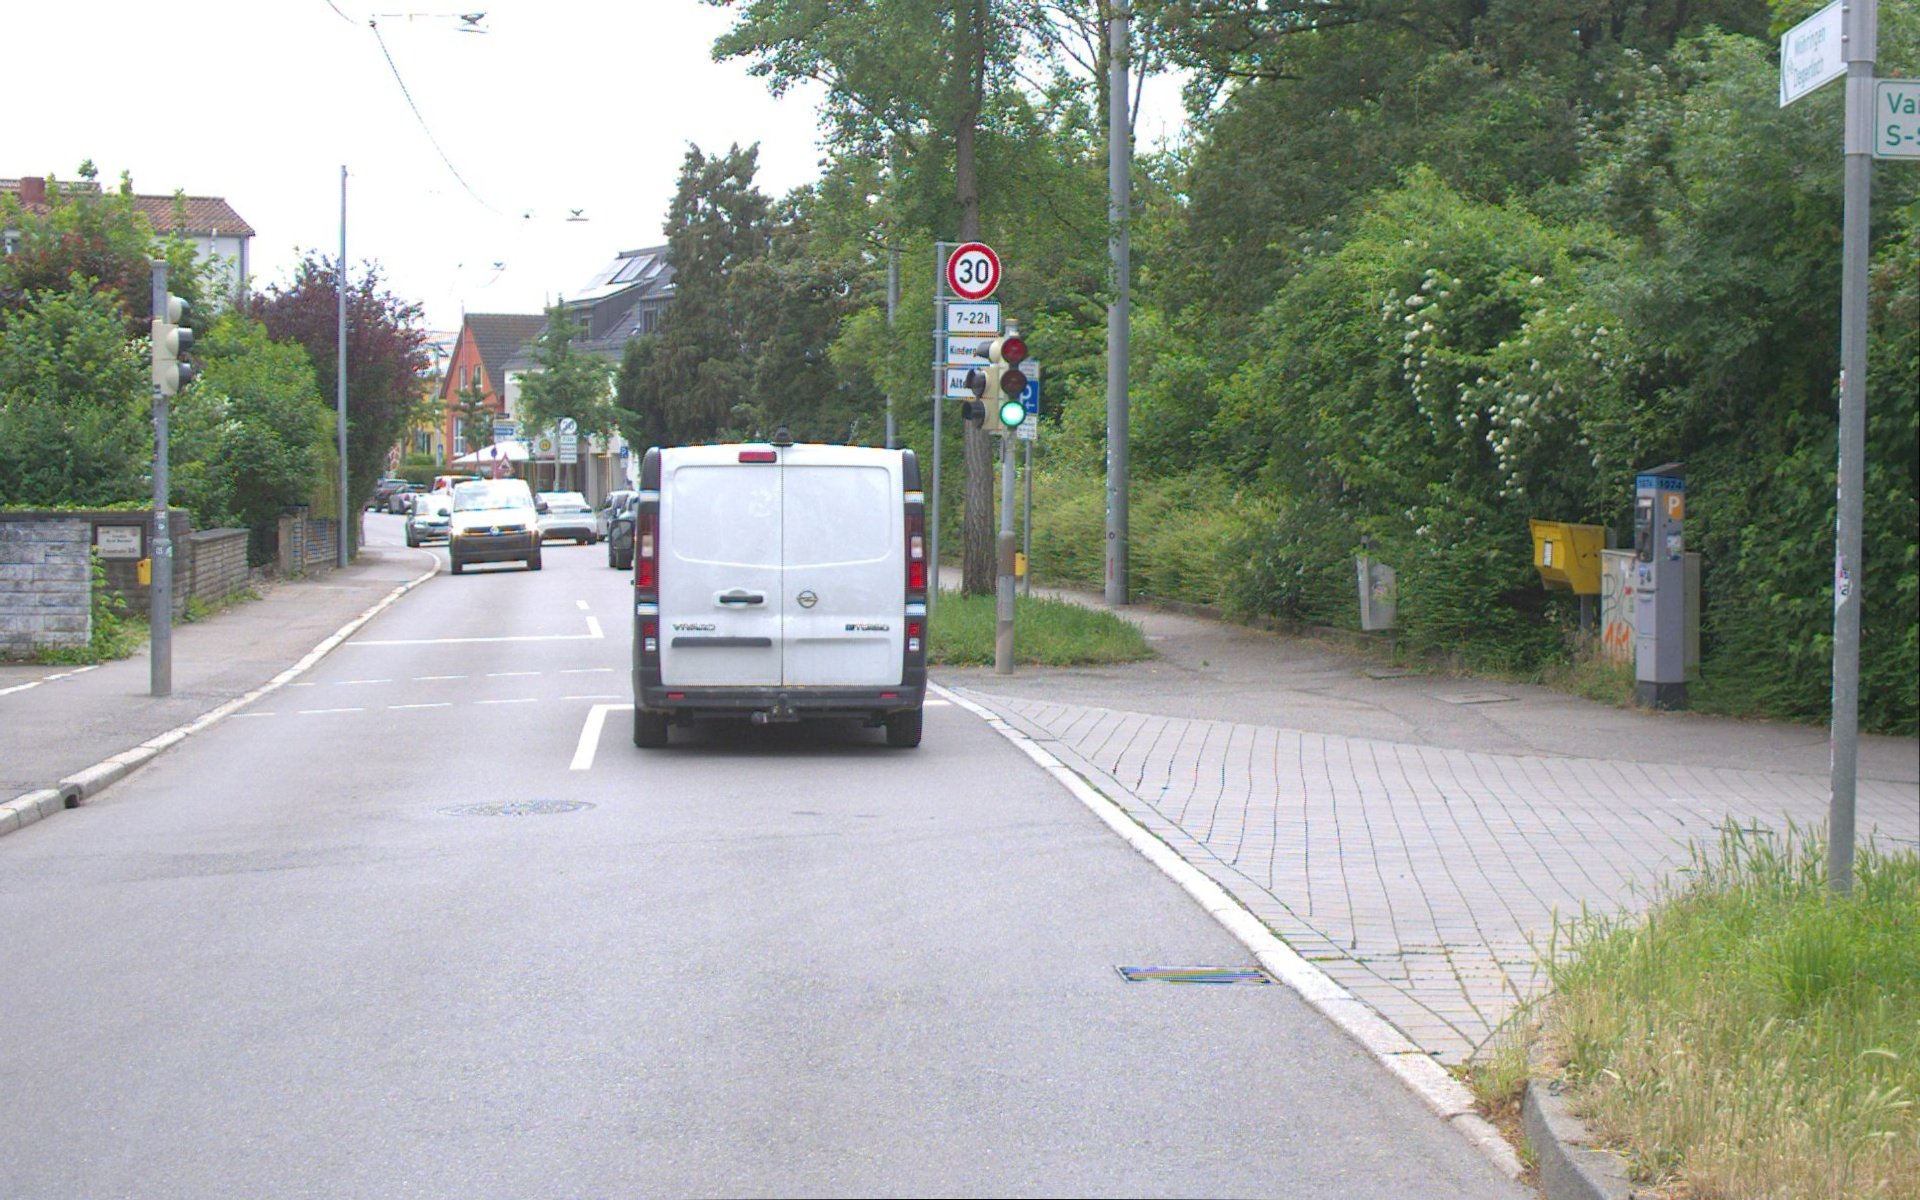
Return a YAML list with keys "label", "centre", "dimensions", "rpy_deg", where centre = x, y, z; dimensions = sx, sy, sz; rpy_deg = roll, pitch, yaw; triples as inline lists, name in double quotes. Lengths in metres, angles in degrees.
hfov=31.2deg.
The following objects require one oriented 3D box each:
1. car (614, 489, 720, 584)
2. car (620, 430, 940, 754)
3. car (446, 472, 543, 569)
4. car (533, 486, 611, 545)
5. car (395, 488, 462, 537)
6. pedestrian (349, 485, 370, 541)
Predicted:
- label: "car"
  centre: [-5.943, -1.310, 70.098]
  dimensions: [1.896, 1.853, 4.405]
  rpy_deg: [1, 1, -2]
- label: "car"
  centre: [-1.268, -0.102, 23.234]
  dimensions: [1.929, 1.957, 4.403]
  rpy_deg: [1, 1, -4]
- label: "car"
  centre: [-9.860, -1.734, 73.085]
  dimensions: [1.867, 1.904, 5.117]
  rpy_deg: [-2, 3, -7]
- label: "car"
  centre: [-11.753, -2.551, 104.004]
  dimensions: [1.824, 1.722, 4.001]
  rpy_deg: [1, 1, -14]
- label: "car"
  centre: [-17.116, -2.828, 110.576]
  dimensions: [1.882, 1.507, 4.114]
  rpy_deg: [-2, 2, -11]
- label: "pedestrian"
  centre: [-18.363, -2.660, 105.185]
  dimensions: [0.418, 1.709, 0.453]
  rpy_deg: [2, 2, 37]
